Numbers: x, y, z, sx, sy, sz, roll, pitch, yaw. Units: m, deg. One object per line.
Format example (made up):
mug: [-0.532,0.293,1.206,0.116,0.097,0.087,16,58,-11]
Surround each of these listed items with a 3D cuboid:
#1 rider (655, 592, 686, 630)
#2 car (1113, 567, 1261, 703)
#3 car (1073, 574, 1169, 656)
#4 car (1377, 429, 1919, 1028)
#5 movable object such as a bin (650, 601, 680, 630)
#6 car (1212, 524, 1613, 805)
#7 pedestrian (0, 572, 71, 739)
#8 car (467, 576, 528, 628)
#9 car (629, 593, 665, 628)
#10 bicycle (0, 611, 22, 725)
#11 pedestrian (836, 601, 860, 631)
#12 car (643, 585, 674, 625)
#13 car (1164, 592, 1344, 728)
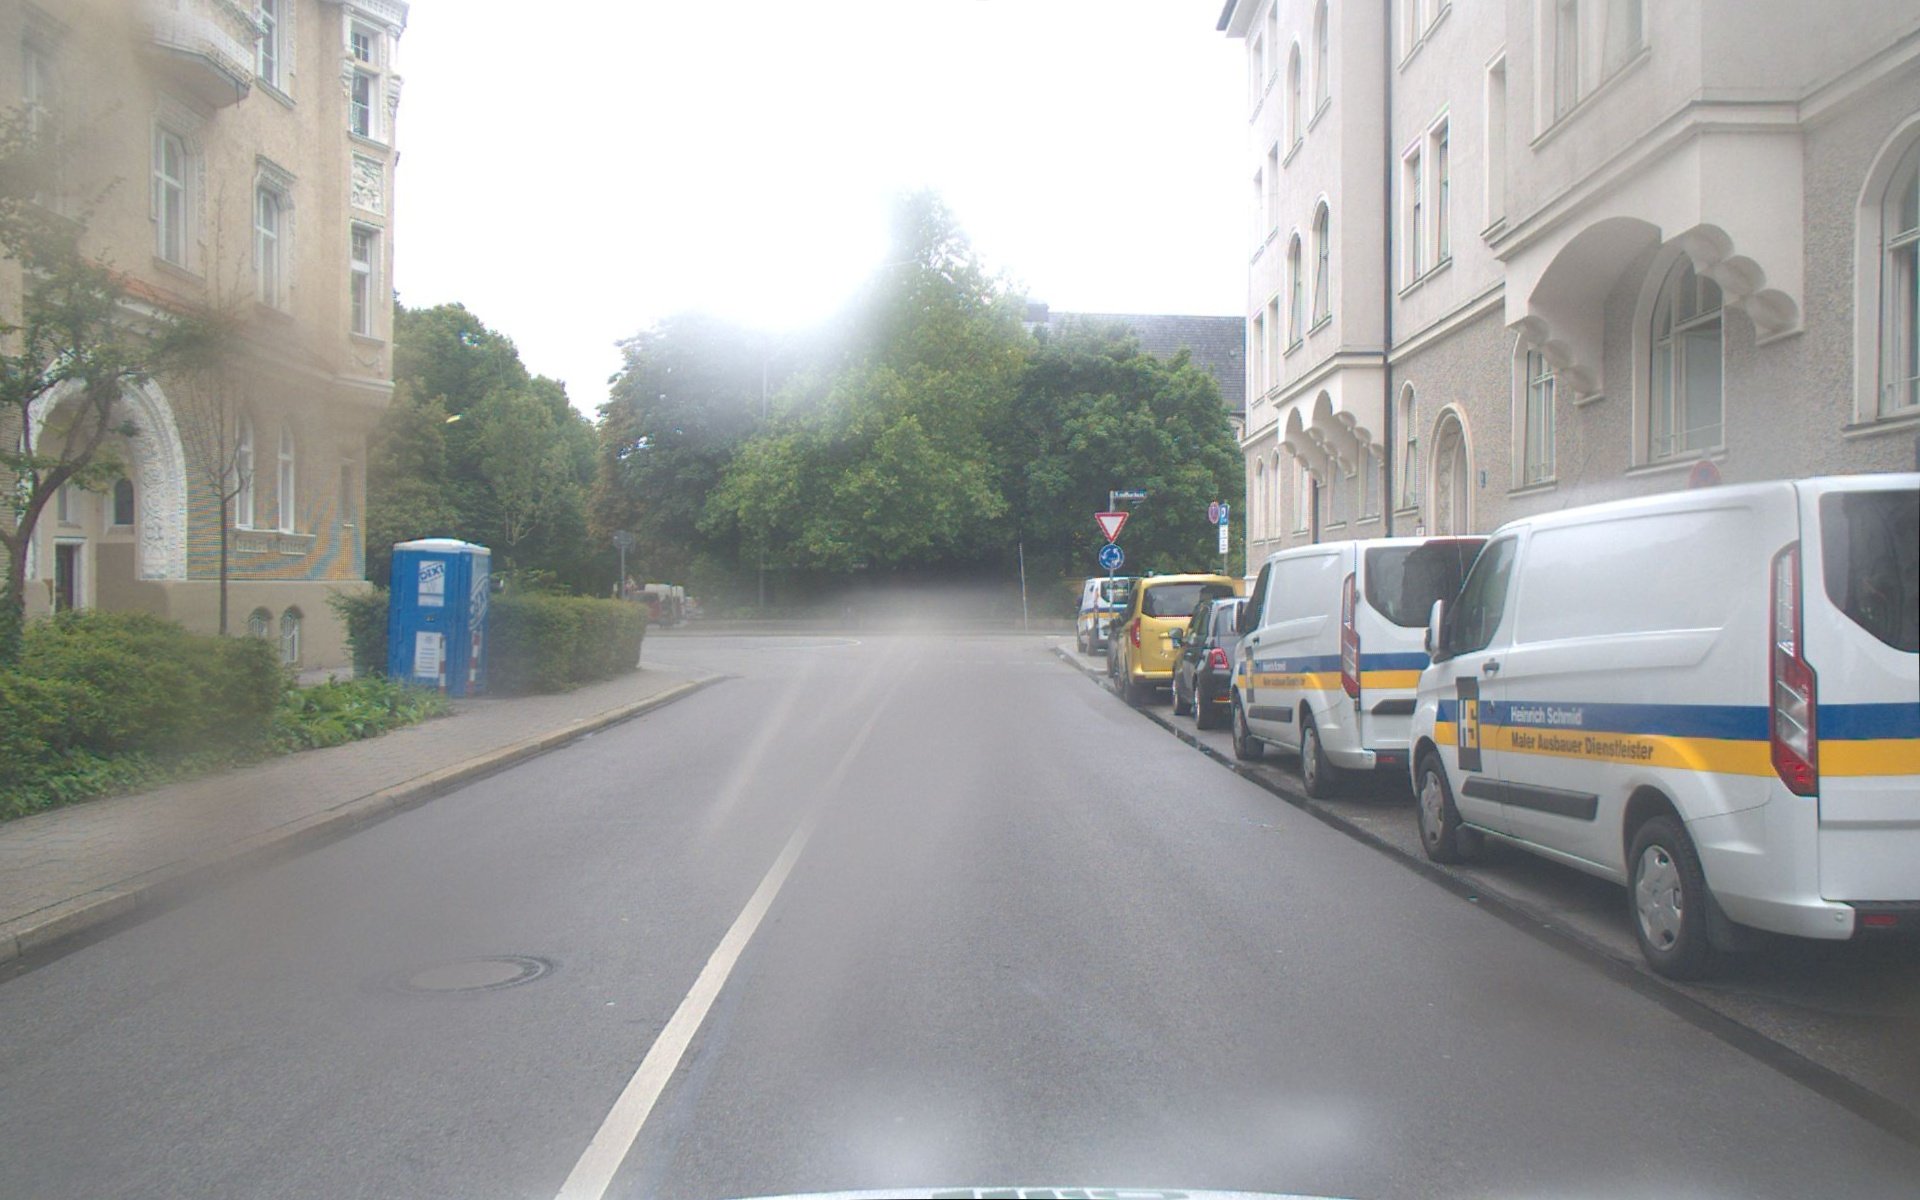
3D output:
rider: [-13.604,0.500,77.692,1.059,1.696,1.140,-3,0,7]
car: [3.377,0.474,25.422,1.812,1.885,4.822,0,0,2]
car: [4.151,0.363,43.359,1.877,1.996,4.926,-1,0,-1]
car: [3.748,0.424,8.209,1.920,2.049,4.991,-1,0,-2]
movable object such as a bin: [-13.714,0.708,76.879,1.055,1.289,1.087,-3,0,7]
car: [3.601,0.448,14.256,1.920,1.971,4.991,-1,0,-2]
pedestrian: [-10.468,0.599,18.152,0.895,1.782,0.948,-1,0,-1]
car: [-27.273,0.134,97.726,2.289,2.973,6.572,0,0,-5]
car: [-18.155,0.593,95.891,2.005,1.956,4.434,0,0,-11]
bicycle: [-11.367,0.784,18.530,0.729,1.298,1.703,0,0,0]
pedestrian: [-4.493,0.635,66.527,0.794,1.210,0.920,0,0,6]
car: [-20.317,0.335,111.528,2.004,2.603,5.235,0,0,-10]
car: [3.530,0.669,20.427,1.598,1.510,3.784,-1,0,1]
